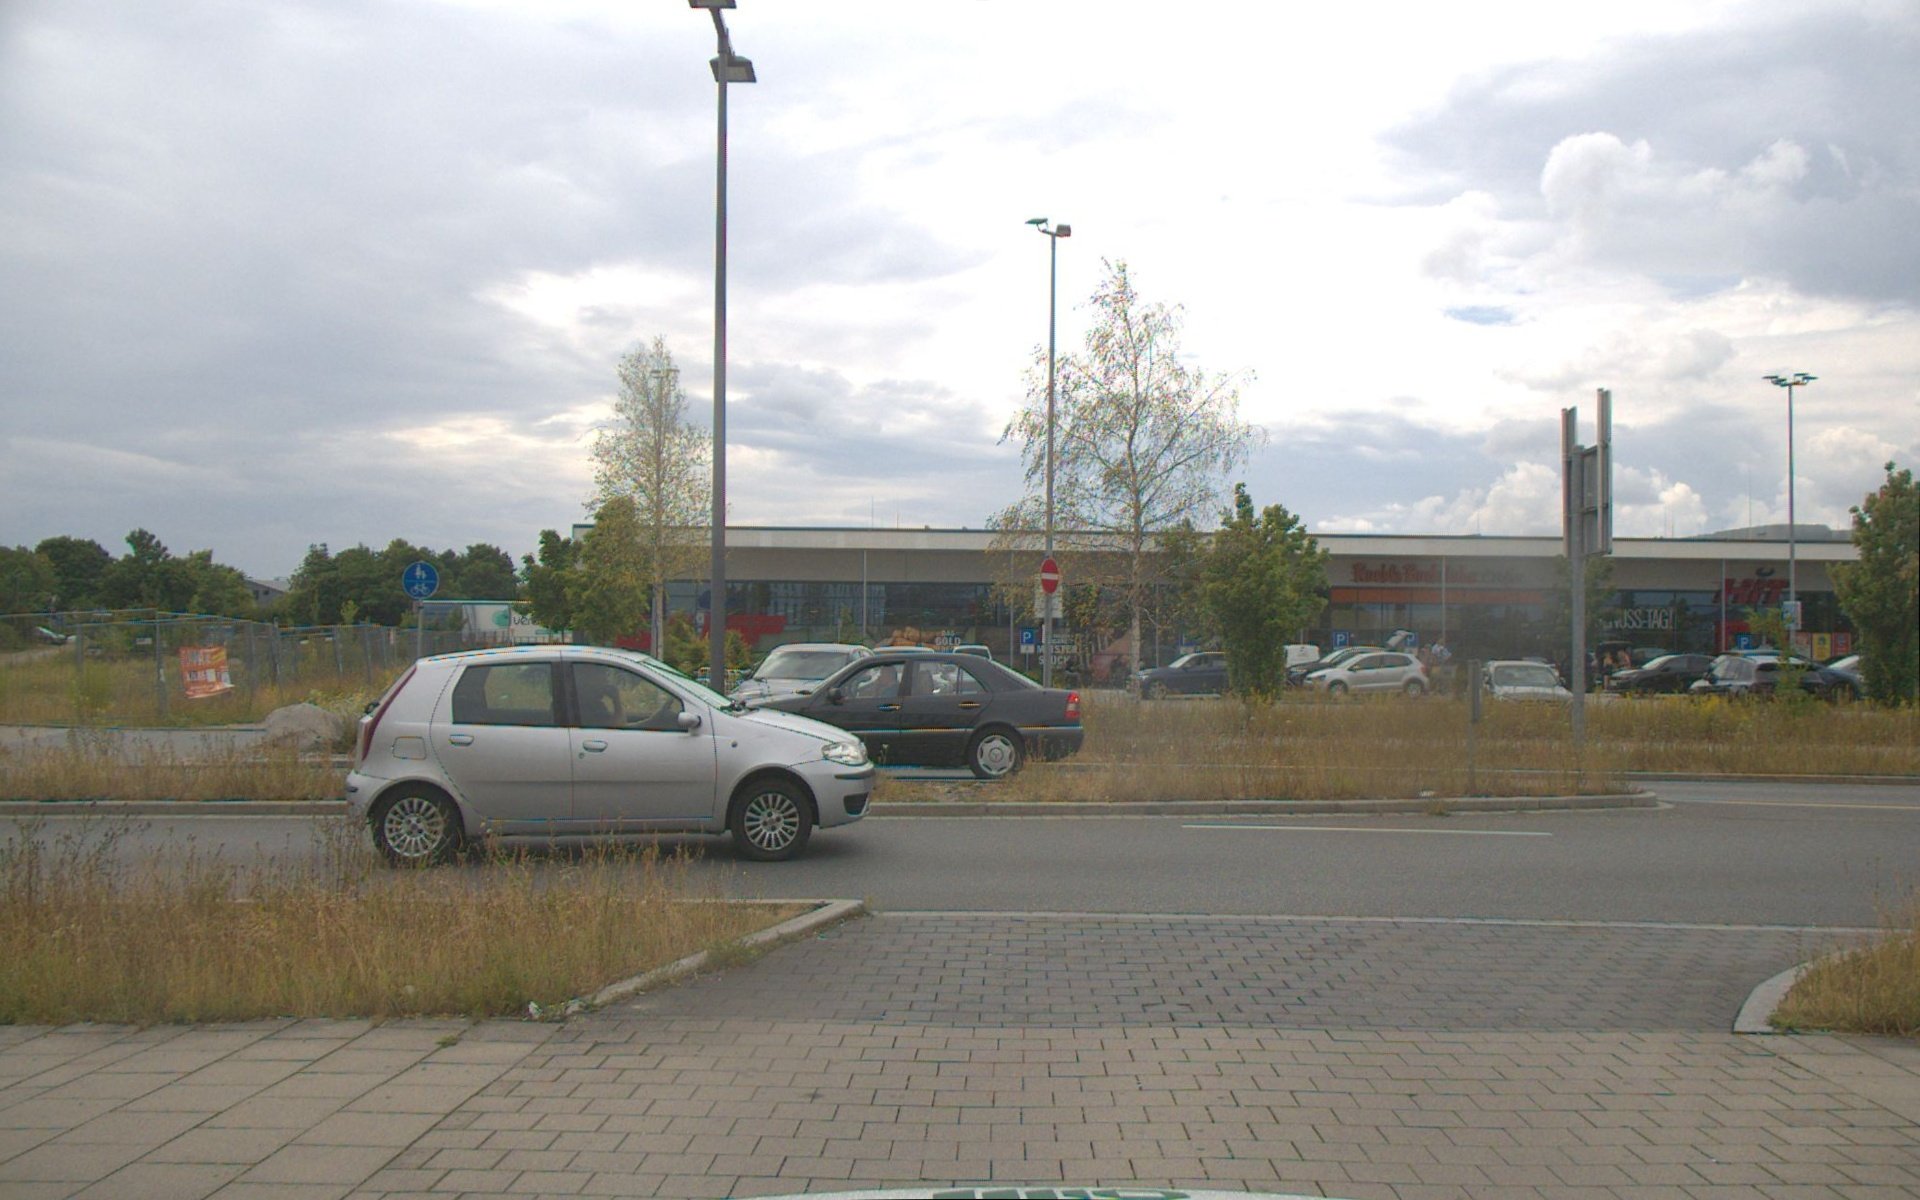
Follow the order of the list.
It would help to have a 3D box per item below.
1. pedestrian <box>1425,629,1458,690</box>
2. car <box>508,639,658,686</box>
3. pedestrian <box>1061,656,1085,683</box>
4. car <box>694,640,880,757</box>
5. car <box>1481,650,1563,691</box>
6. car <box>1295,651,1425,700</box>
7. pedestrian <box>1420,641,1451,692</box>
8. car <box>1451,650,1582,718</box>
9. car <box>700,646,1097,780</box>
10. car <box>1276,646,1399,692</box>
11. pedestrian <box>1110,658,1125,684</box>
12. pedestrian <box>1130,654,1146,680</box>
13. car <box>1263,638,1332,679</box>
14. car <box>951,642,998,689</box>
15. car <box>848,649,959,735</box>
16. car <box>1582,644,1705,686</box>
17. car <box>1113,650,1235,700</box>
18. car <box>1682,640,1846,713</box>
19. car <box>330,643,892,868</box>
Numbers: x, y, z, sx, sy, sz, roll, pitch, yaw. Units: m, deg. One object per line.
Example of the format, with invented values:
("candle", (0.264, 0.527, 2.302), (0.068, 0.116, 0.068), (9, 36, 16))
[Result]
("pedestrian", (16.364, 2.019, 56.230), (0.846, 2.049, 1.004), (0, -2, 3))
("car", (-13.329, 2.215, 58.726), (4.911, 1.585, 1.997), (1, -2, -6))
("pedestrian", (5.042, 3.114, 73.972), (0.951, 1.175, 1.132), (0, -2, -3))
("car", (-2.366, 1.335, 23.694), (1.754, 1.492, 4.323), (0, -1, 6))
("car", (22.156, 2.767, 65.345), (1.952, 1.534, 4.000), (0, -1, 1))
("car", (12.529, 2.342, 51.878), (3.671, 1.480, 1.667), (0, -1, -2))
("pedestrian", (15.750, 2.195, 54.787), (0.804, 1.660, 0.899), (1, -2, 4))
("car", (12.472, 1.870, 37.322), (1.946, 1.409, 4.152), (1, -2, 6))
("car", (-0.634, 1.253, 18.696), (4.266, 1.420, 1.791), (0, -3, 1))
("car", (12.516, 2.272, 54.951), (3.671, 1.480, 1.667), (0, -1, -2))
("pedestrian", (7.024, 3.147, 73.631), (0.565, 1.144, 0.561), (0, -2, -5))
("pedestrian", (7.821, 2.943, 72.701), (0.565, 1.144, 0.561), (0, -2, -5))
("car", (13.293, 2.298, 65.364), (1.952, 1.534, 4.000), (1, -1, 1))
("car", (0.583, 2.523, 64.522), (1.786, 1.730, 4.234), (0, -1, 1))
("car", (-0.976, 1.678, 30.955), (1.743, 1.471, 4.610), (0, -2, 2))
("car", (26.256, 2.486, 63.588), (3.905, 1.534, 2.000), (0, -1, 0))
("car", (6.625, 2.320, 51.487), (3.534, 1.480, 1.667), (0, -1, -3))
("car", (17.615, 1.664, 36.459), (1.946, 1.477, 4.152), (0, -2, 6))
("car", (-2.433, 1.063, 12.117), (3.732, 1.487, 1.797), (0, -2, -8))
